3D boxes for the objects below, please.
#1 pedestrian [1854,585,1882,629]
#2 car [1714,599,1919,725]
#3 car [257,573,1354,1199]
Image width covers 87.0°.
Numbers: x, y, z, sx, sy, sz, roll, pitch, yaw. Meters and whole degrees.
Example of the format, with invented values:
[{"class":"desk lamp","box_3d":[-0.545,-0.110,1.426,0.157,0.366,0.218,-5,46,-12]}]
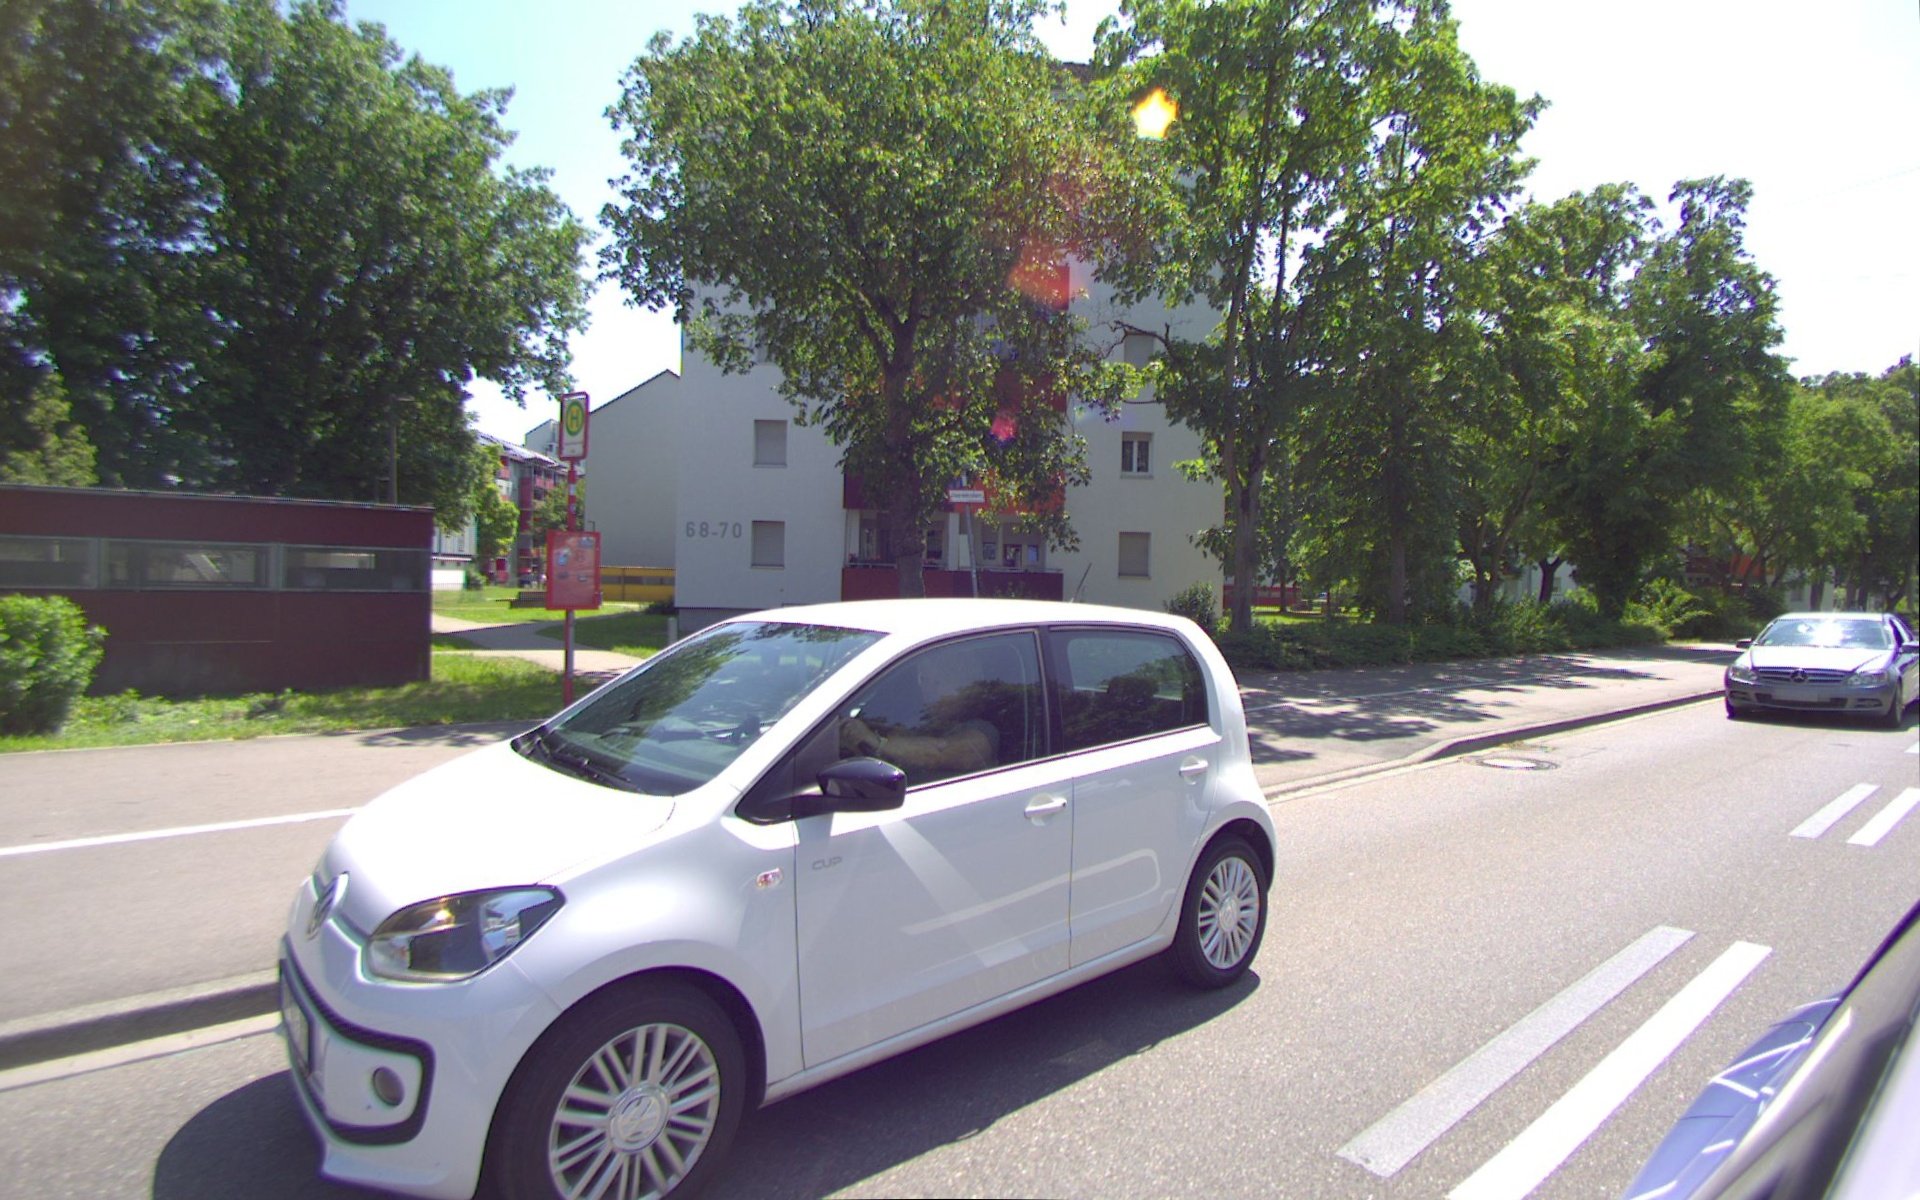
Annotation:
[{"class":"pedestrian","box_3d":[35.081,0.259,39.091,0.841,1.664,0.670,0,1,-39]},{"class":"car","box_3d":[12.047,0.741,13.895,3.901,1.478,1.902,1,-1,-40]},{"class":"car","box_3d":[-0.236,0.673,3.791,3.788,1.468,1.661,0,0,-42]}]
